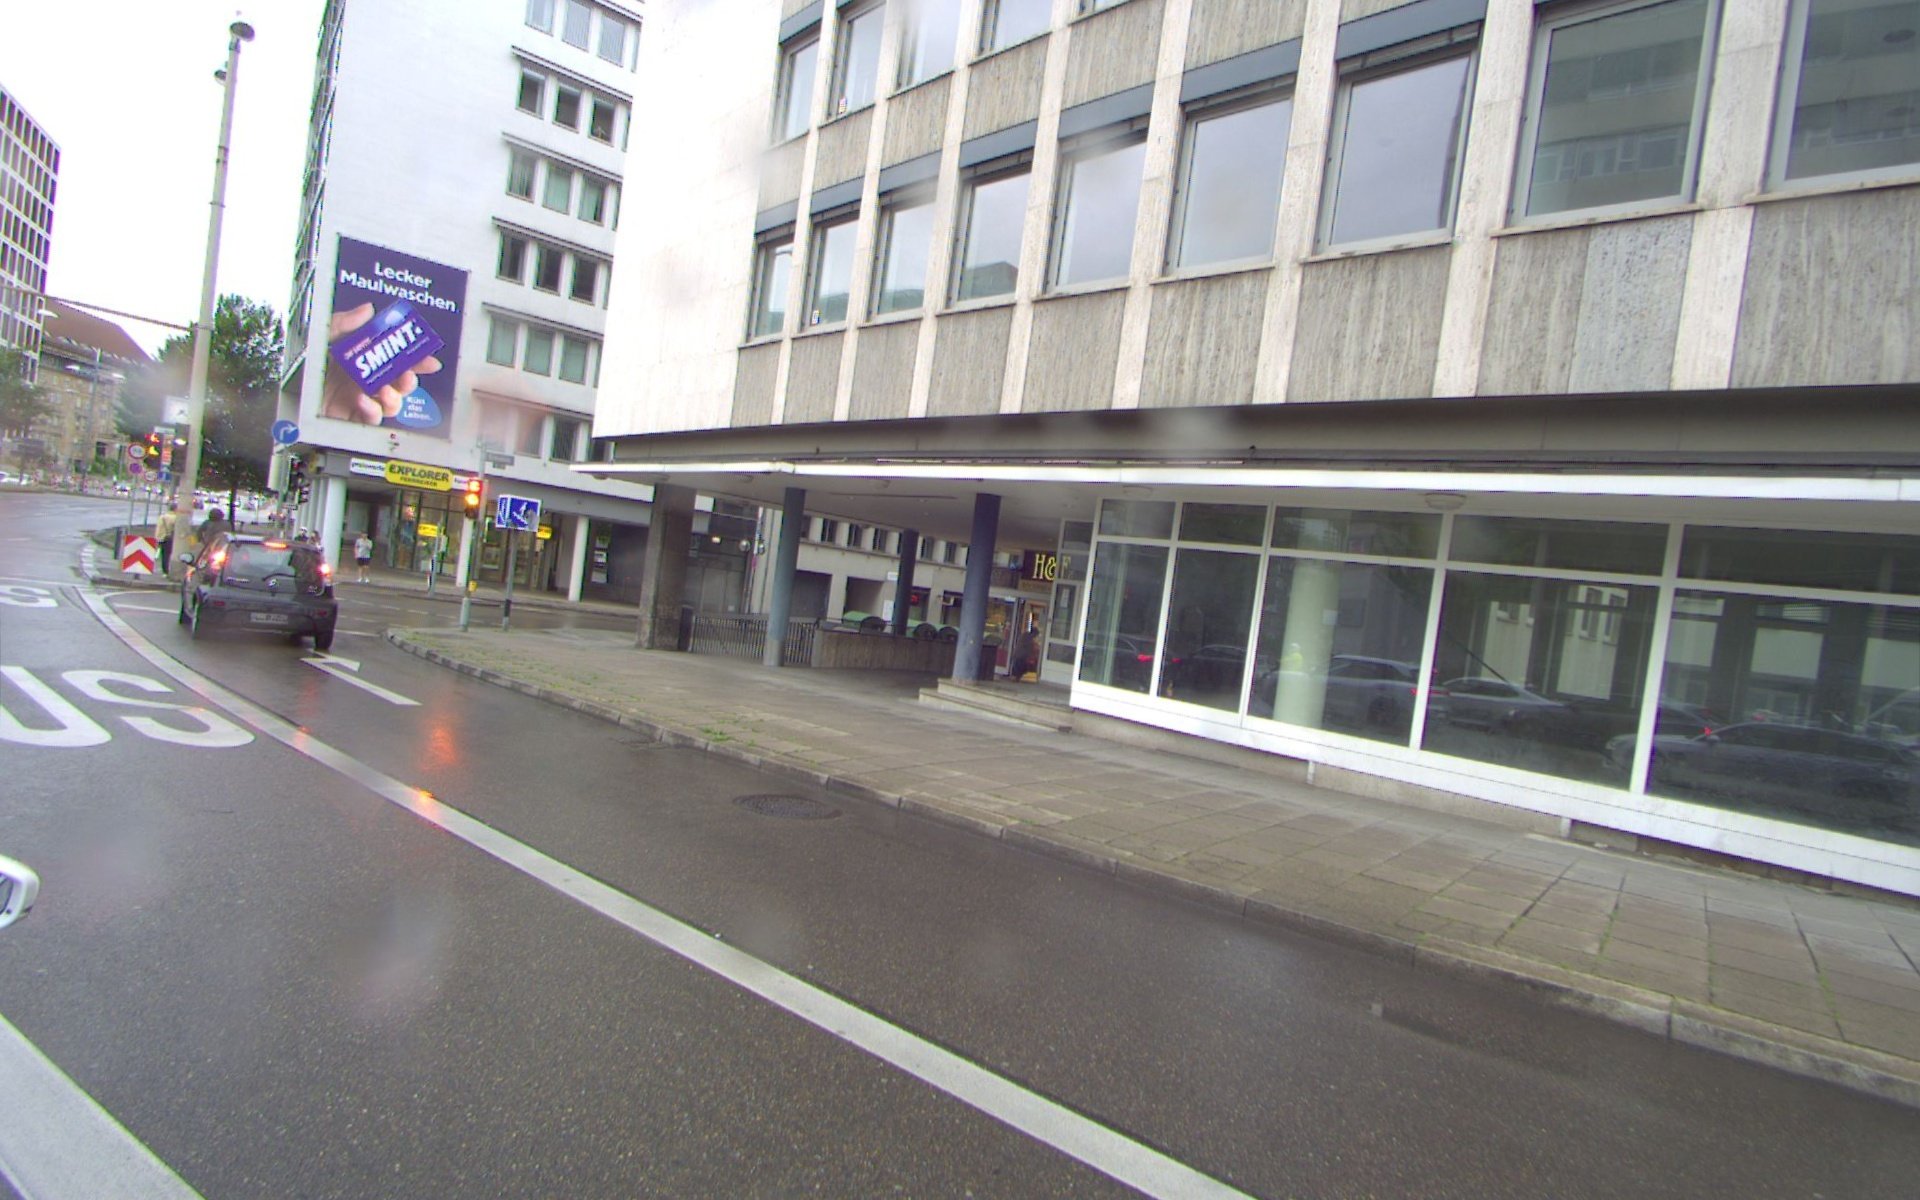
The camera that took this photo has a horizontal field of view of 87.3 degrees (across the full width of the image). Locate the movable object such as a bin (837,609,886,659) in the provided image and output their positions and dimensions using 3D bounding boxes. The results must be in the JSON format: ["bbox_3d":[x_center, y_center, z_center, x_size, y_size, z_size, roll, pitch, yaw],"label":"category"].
[{"bbox_3d":[-3.291,1.126,33.555,0.961,1.447,1.268,7,1,-36],"label":"movable object such as a bin"}]

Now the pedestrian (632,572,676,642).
[{"bbox_3d":[-8.204,0.196,26.982,0.768,1.752,0.589,7,0,-44],"label":"pedestrian"}]

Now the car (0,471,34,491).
[{"bbox_3d":[-87.458,-11.030,93.275,1.622,1.454,3.871,8,0,-34],"label":"car"}]

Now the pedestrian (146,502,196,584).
[{"bbox_3d":[-18.609,-1.350,23.736,0.745,1.820,0.808,7,1,-38],"label":"pedestrian"}]

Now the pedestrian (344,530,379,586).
[{"bbox_3d":[-20.879,-1.452,35.104,0.660,1.815,0.771,7,0,-15],"label":"pedestrian"}]

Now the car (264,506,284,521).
[{"bbox_3d":[-91.725,-11.596,134.540,1.680,1.503,3.973,8,-2,-28],"label":"car"}]

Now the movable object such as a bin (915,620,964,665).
[{"bbox_3d":[-0.738,1.508,35.938,1.094,1.399,1.186,7,1,-37],"label":"movable object such as a bin"}]

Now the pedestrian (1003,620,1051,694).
[{"bbox_3d":[1.763,1.504,26.599,0.791,1.825,0.706,8,0,-28],"label":"pedestrian"}]

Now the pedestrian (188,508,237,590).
[{"bbox_3d":[-17.707,-1.219,23.830,0.745,1.820,0.808,7,1,-38],"label":"pedestrian"}]

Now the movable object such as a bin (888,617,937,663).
[{"bbox_3d":[-1.670,1.411,35.203,1.094,1.399,1.186,7,1,-37],"label":"movable object such as a bin"}]

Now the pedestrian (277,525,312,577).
[{"bbox_3d":[-22.839,-1.685,34.546,0.660,1.675,0.651,8,0,-15],"label":"pedestrian"}]

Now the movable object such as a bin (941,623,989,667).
[{"bbox_3d":[0.166,1.635,36.626,1.094,1.399,1.186,7,1,-37],"label":"movable object such as a bin"}]

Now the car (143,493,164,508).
[{"bbox_3d":[-134.752,-16.639,168.073,1.980,2.037,3.968,8,-1,-31],"label":"car"}]

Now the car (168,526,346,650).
[{"bbox_3d":[-10.449,-0.233,14.830,1.566,1.446,3.953,9,-2,-42],"label":"car"}]

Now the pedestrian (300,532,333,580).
[{"bbox_3d":[-22.193,-1.510,34.723,0.616,1.561,0.651,8,0,-15],"label":"pedestrian"}]

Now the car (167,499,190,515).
[{"bbox_3d":[-98.464,-11.671,126.785,1.877,1.662,3.962,8,-1,-35],"label":"car"}]
